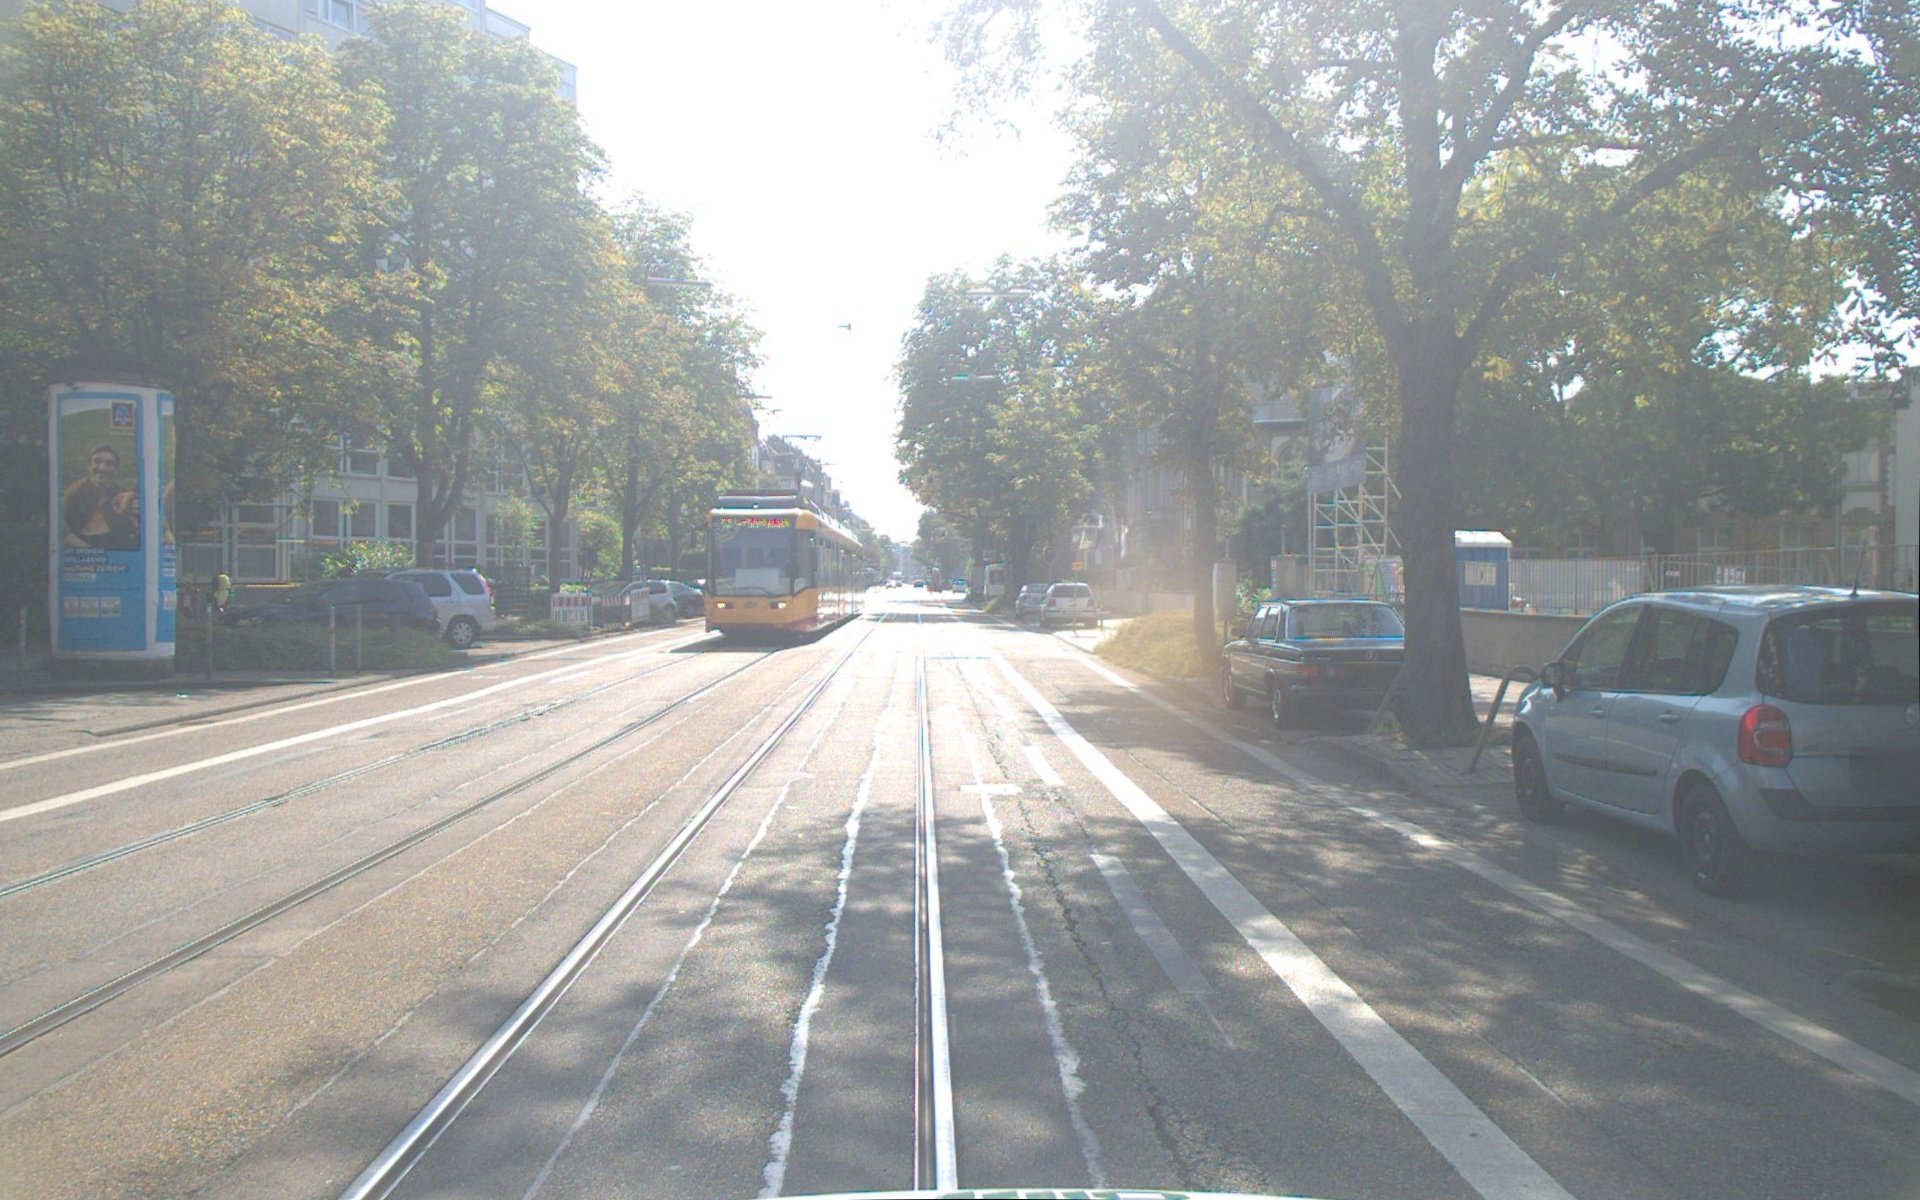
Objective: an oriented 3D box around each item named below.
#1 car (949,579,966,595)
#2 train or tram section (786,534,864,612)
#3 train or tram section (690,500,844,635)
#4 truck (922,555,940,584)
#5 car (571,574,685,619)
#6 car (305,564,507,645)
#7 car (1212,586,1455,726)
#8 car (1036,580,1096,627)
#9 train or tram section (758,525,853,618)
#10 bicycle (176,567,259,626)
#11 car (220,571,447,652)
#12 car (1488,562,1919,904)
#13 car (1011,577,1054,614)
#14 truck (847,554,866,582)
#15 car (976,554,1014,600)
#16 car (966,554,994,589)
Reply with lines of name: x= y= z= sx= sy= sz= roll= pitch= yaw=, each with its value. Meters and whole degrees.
car: x=-0.296 y=-1.594 z=198.516 sx=1.953 sy=1.870 sz=4.000 roll=0 pitch=1 yaw=0
train or tram section: x=-5.353 y=-1.066 z=67.123 sx=2.626 sy=2.911 sz=10.541 roll=0 pitch=1 yaw=-2
train or tram section: x=-4.750 y=-0.791 z=43.878 sx=2.674 sy=2.945 sz=15.451 roll=0 pitch=1 yaw=-2
truck: x=-3.245 y=-3.368 z=183.464 sx=1.824 sy=3.185 sz=4.350 roll=0 pitch=1 yaw=-4
car: x=-11.284 y=-0.135 z=56.460 sx=1.540 sy=1.468 sz=3.746 roll=1 pitch=1 yaw=38
car: x=-11.787 y=0.066 z=35.316 sx=1.714 sy=1.650 sz=3.770 roll=1 pitch=1 yaw=44
car: x=4.303 y=0.568 z=19.808 sx=1.718 sy=1.401 sz=4.718 roll=-2 pitch=1 yaw=-1
car: x=3.365 y=0.078 z=52.936 sx=1.655 sy=1.443 sz=3.634 roll=0 pitch=1 yaw=-1
train or tram section: x=-5.035 y=-0.919 z=54.895 sx=2.673 sy=2.899 sz=6.541 roll=0 pitch=1 yaw=-2
bicycle: x=-18.140 y=-0.106 z=40.398 sx=2.380 sy=1.404 sz=0.585 roll=1 pitch=1 yaw=30
car: x=-11.976 y=0.180 z=31.736 sx=3.767 sy=1.467 sz=1.666 roll=0 pitch=1 yaw=-44
car: x=4.685 y=0.609 z=10.075 sx=1.630 sy=1.645 sz=3.876 roll=-1 pitch=1 yaw=-1
car: x=2.904 y=-0.200 z=66.762 sx=1.562 sy=1.443 sz=3.634 roll=0 pitch=1 yaw=-1
truck: x=-11.418 y=-3.514 z=183.045 sx=1.953 sy=3.027 sz=4.569 roll=0 pitch=1 yaw=-2
car: x=1.994 y=-1.333 z=94.933 sx=1.964 sy=2.534 sz=4.476 roll=1 pitch=1 yaw=-1
car: x=1.459 y=-2.056 z=121.726 sx=1.964 sy=2.518 sz=4.476 roll=0 pitch=1 yaw=-1
